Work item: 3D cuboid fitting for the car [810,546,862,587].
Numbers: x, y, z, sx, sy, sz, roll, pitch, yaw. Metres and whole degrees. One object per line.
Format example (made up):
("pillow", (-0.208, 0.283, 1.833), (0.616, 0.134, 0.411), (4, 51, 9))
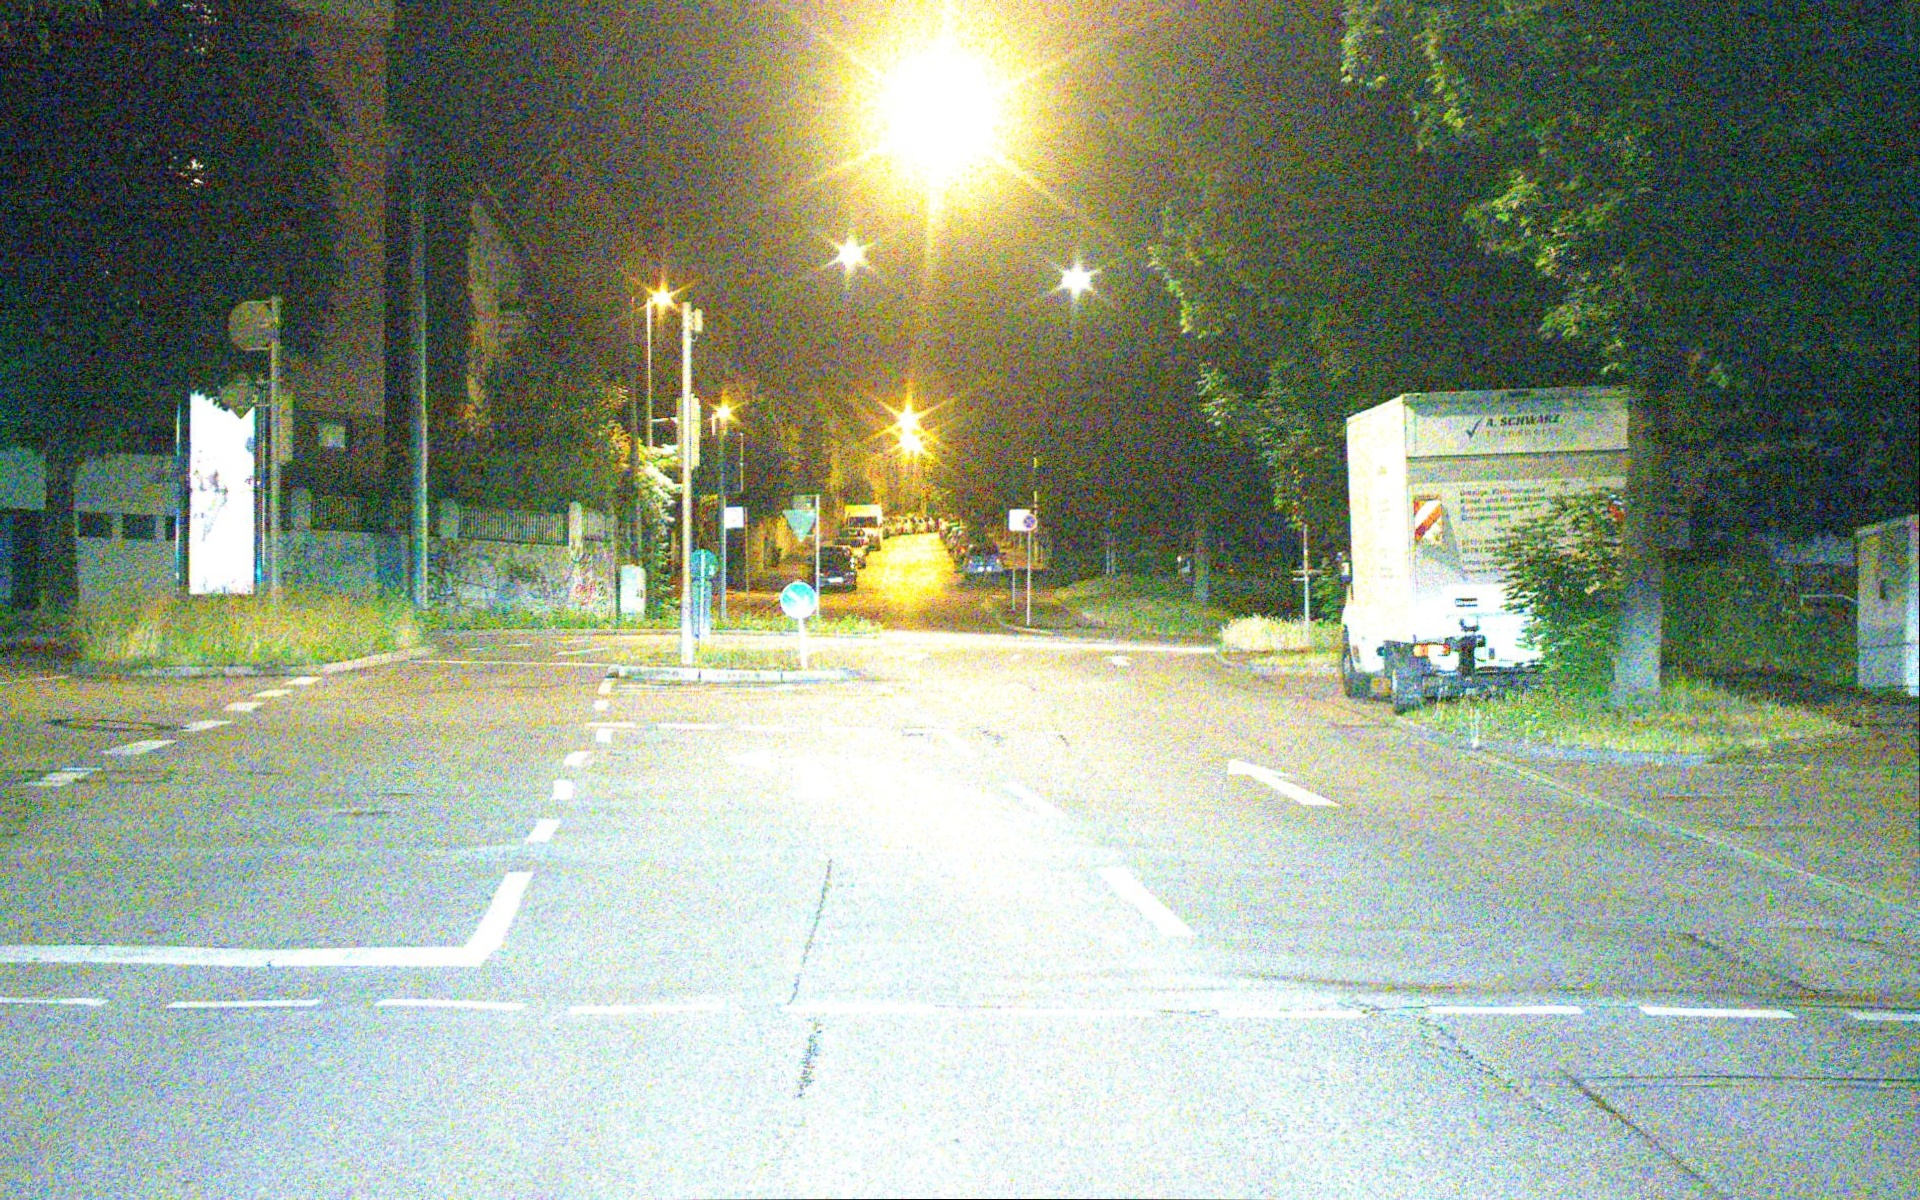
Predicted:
("car", (-4.839, -1.295, 134.377), (1.908, 1.552, 3.904), (1, 1, -1))

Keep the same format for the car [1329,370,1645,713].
("car", (5.121, -0.571, 34.286), (2.297, 3.082, 5.840), (-1, 1, 1))
